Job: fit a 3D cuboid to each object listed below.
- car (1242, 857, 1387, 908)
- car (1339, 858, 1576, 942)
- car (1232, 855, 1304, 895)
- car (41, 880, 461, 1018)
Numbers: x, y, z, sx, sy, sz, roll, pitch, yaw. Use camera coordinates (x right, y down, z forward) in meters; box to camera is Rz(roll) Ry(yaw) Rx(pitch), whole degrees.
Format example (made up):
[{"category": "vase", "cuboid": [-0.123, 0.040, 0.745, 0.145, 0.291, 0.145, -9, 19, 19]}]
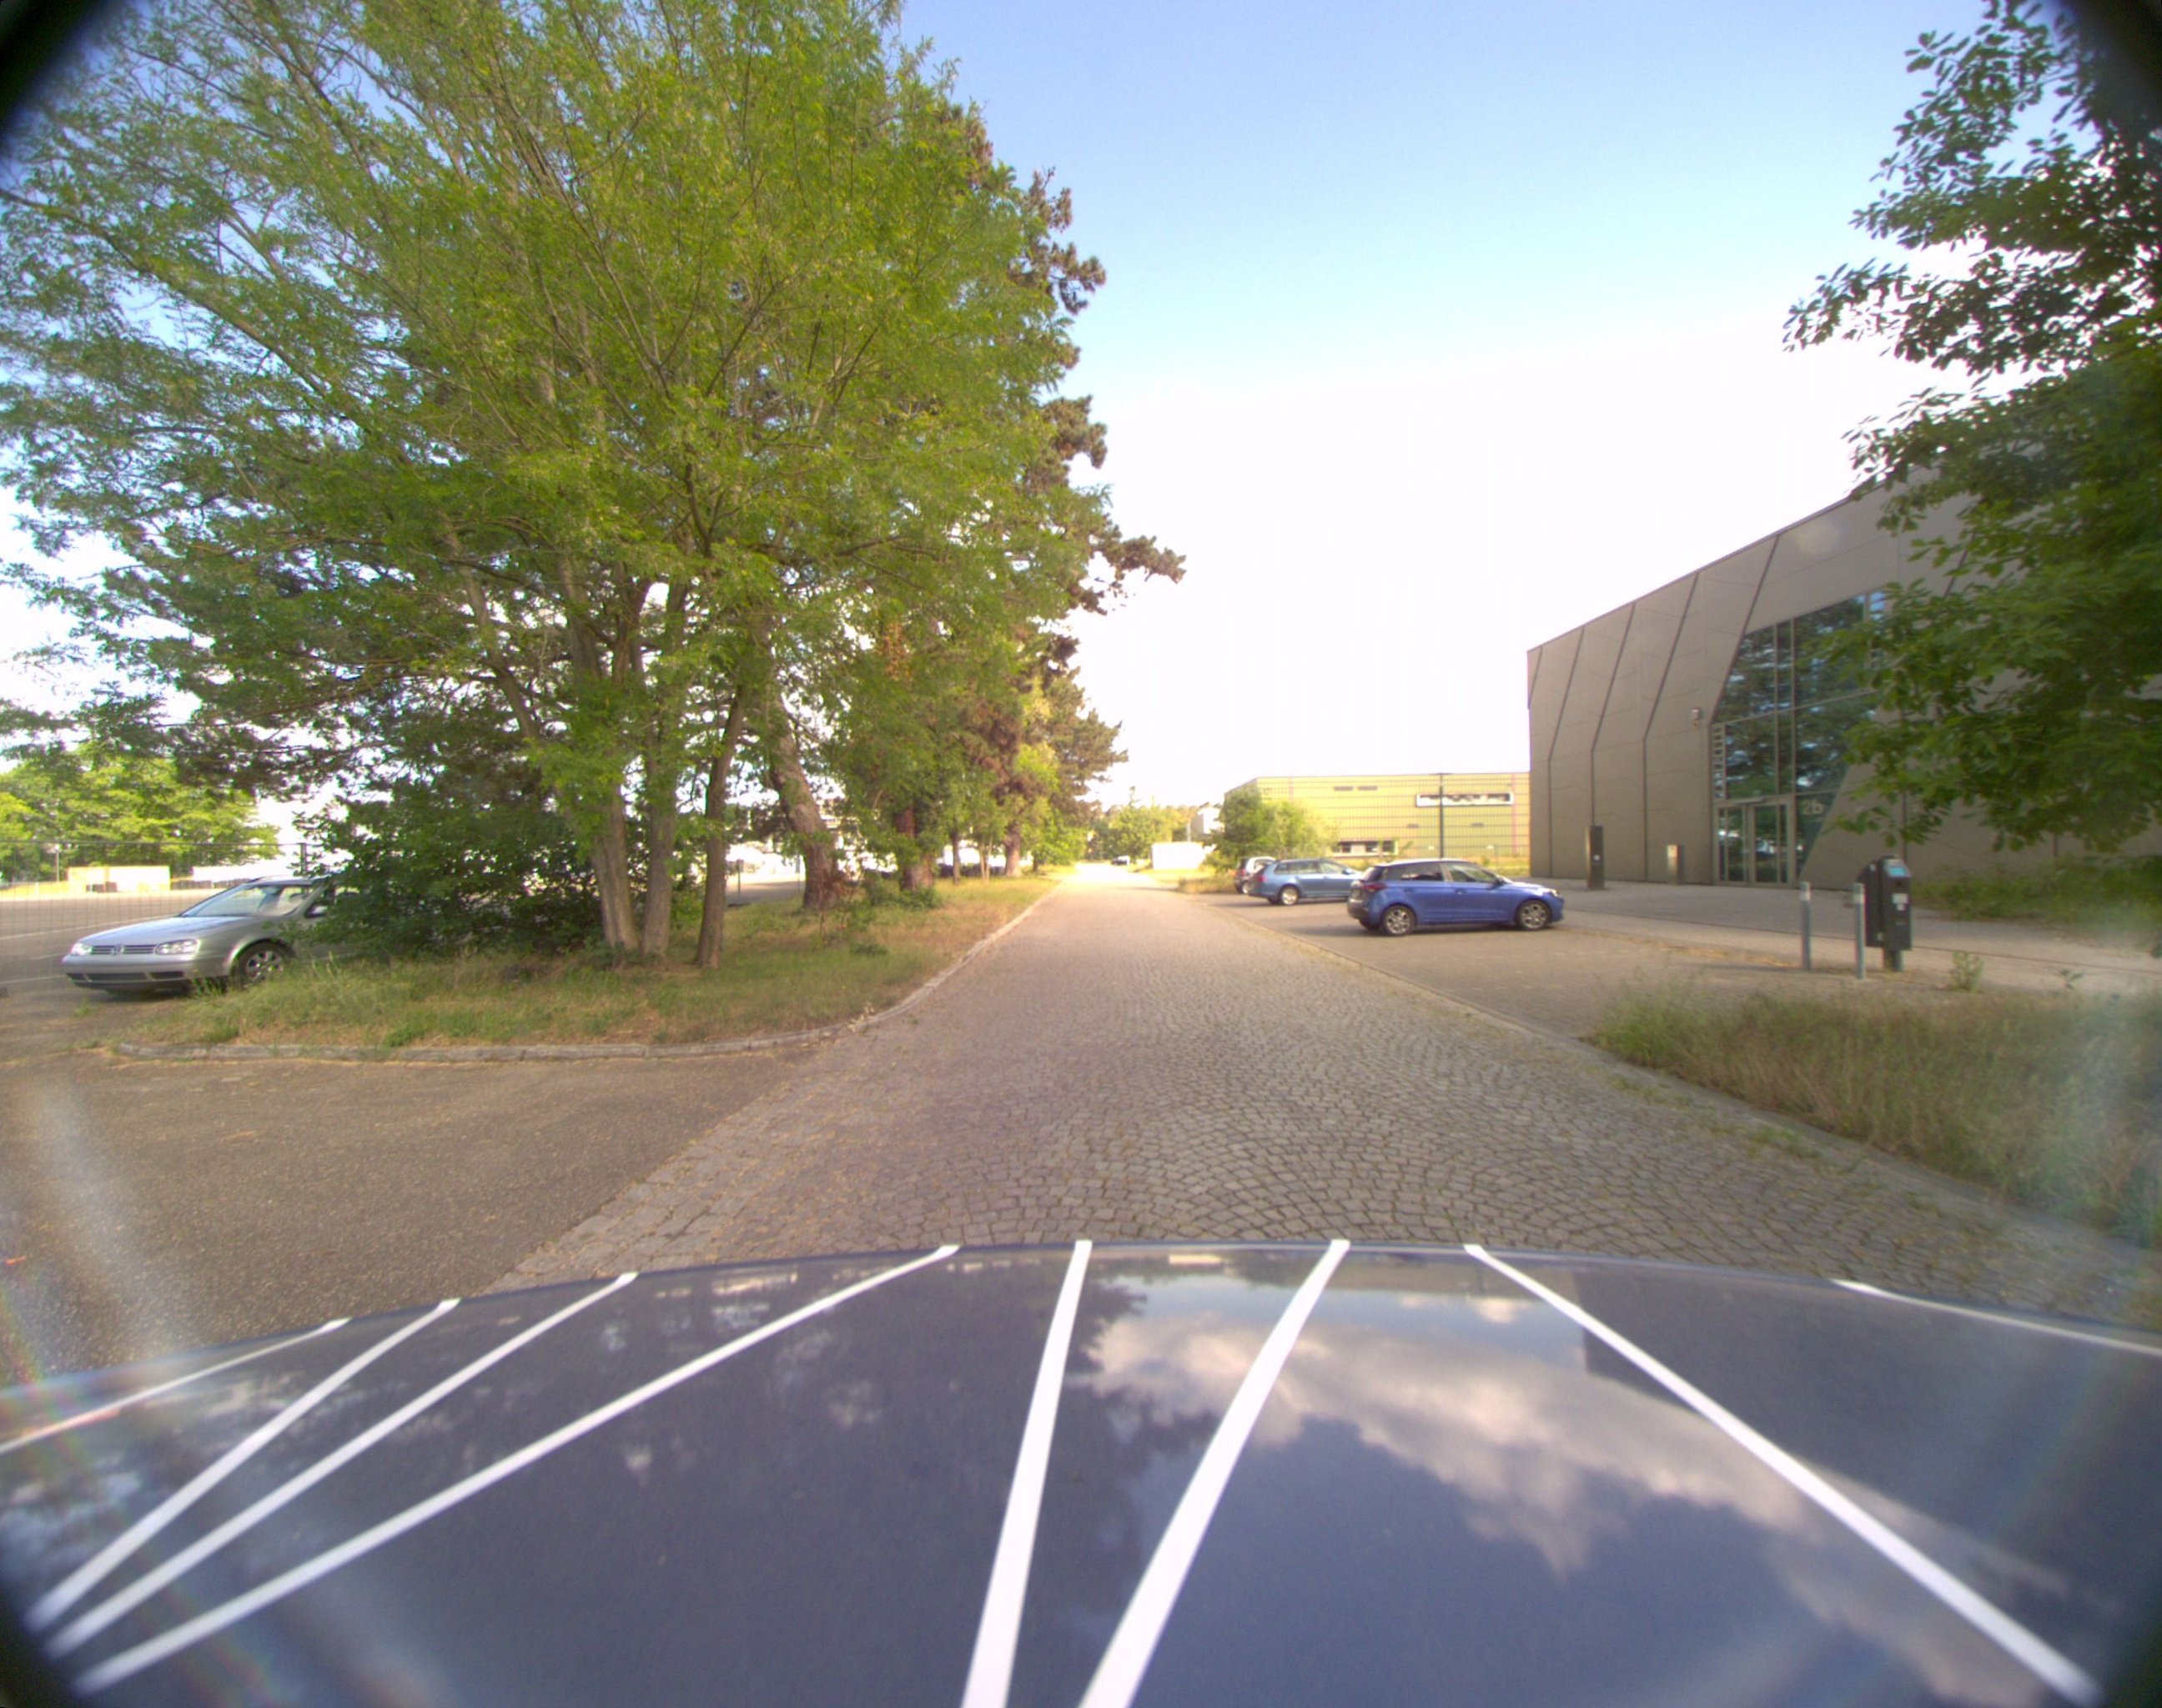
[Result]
[{"category": "car", "cuboid": [7.576, 0.904, 24.906, 4.179, 1.465, 1.734, -2, 0, -1]}, {"category": "car", "cuboid": [7.505, 0.898, 15.450, 3.917, 1.459, 1.735, -2, 0, 4]}, {"category": "car", "cuboid": [7.901, 0.878, 32.292, 2.652, 1.559, 1.482, -2, 0, 0]}, {"category": "car", "cuboid": [-11.033, 1.147, 10.613, 1.578, 1.435, 3.986, 0, 0, -2]}]
